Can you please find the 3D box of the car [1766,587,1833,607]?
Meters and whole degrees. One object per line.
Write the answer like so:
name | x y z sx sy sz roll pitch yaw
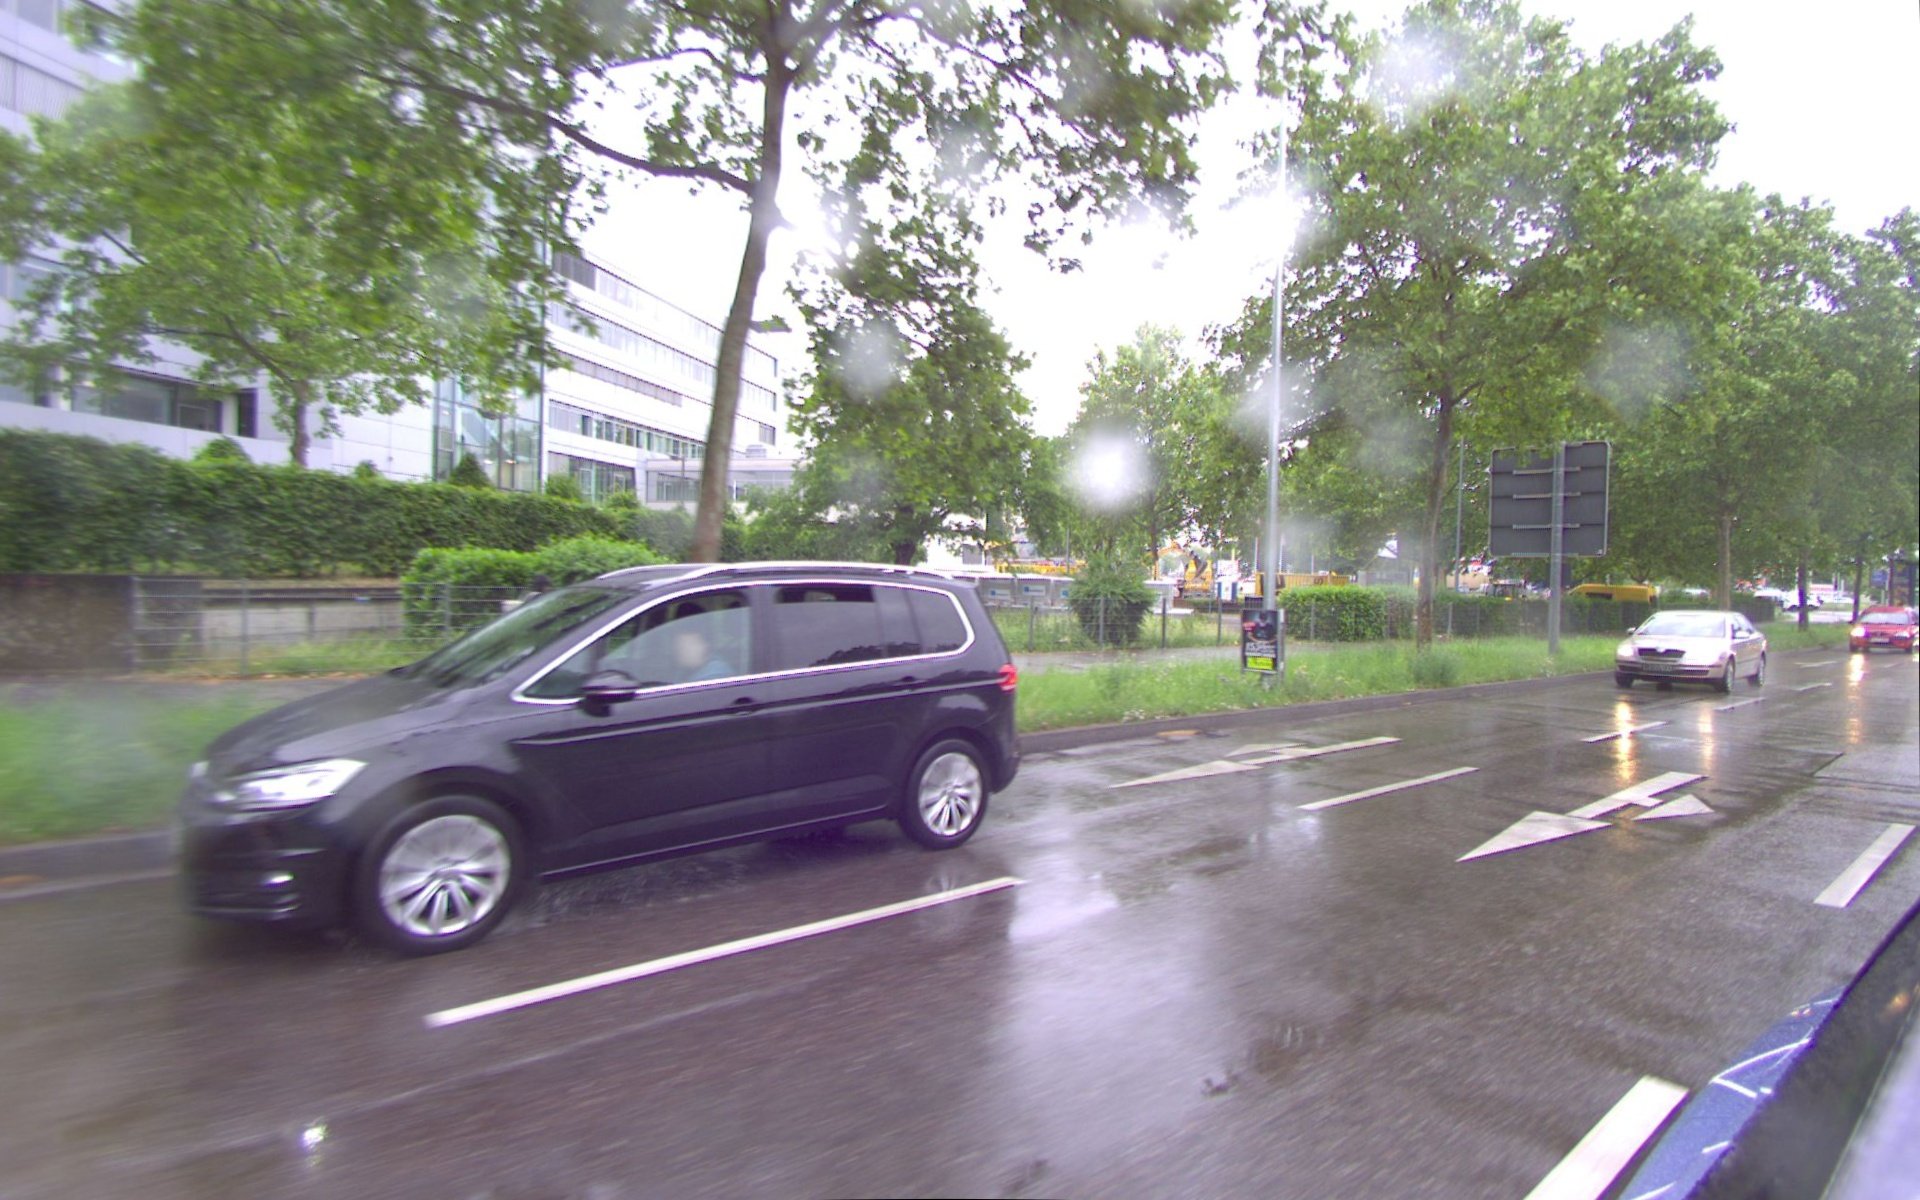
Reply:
car | 79.349 -0.300 95.726 4.391 1.693 1.863 2 2 11

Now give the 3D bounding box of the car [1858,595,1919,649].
car | 33.671 0.749 36.196 4.477 1.791 1.699 0 2 -40

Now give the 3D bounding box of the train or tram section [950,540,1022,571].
train or tram section | 3.114 -5.284 121.058 8.396 3.563 2.393 0 1 11

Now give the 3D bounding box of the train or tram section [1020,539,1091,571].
train or tram section | 11.301 -5.274 119.402 8.239 3.563 2.393 0 1 11

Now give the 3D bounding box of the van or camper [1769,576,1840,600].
van or camper | 82.081 -1.191 98.418 4.831 2.114 1.863 2 2 11

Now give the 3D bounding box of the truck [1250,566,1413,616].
truck | 23.374 -0.580 64.263 9.360 3.069 3.069 0 1 14

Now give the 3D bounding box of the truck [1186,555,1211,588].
truck | 25.227 -3.049 107.179 2.459 3.386 9.434 0 2 13

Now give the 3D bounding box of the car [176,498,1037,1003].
car | -1.662 0.494 5.589 4.119 1.748 1.859 0 1 -42

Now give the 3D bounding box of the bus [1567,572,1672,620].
bus | 38.810 -0.276 59.658 1.964 2.680 4.803 0 1 -39

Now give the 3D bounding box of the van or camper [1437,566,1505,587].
van or camper | 79.533 -3.675 157.666 8.847 3.196 2.975 0 1 14

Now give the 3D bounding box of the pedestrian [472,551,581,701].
pedestrian | -5.407 0.297 12.640 0.664 1.784 1.059 1 1 43

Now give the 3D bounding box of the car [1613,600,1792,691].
car | 14.107 0.762 19.137 4.309 1.448 1.806 0 2 -41

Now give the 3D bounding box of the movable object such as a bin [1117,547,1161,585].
movable object such as a bin | 17.641 -3.375 99.949 3.253 3.670 3.618 1 2 -6
